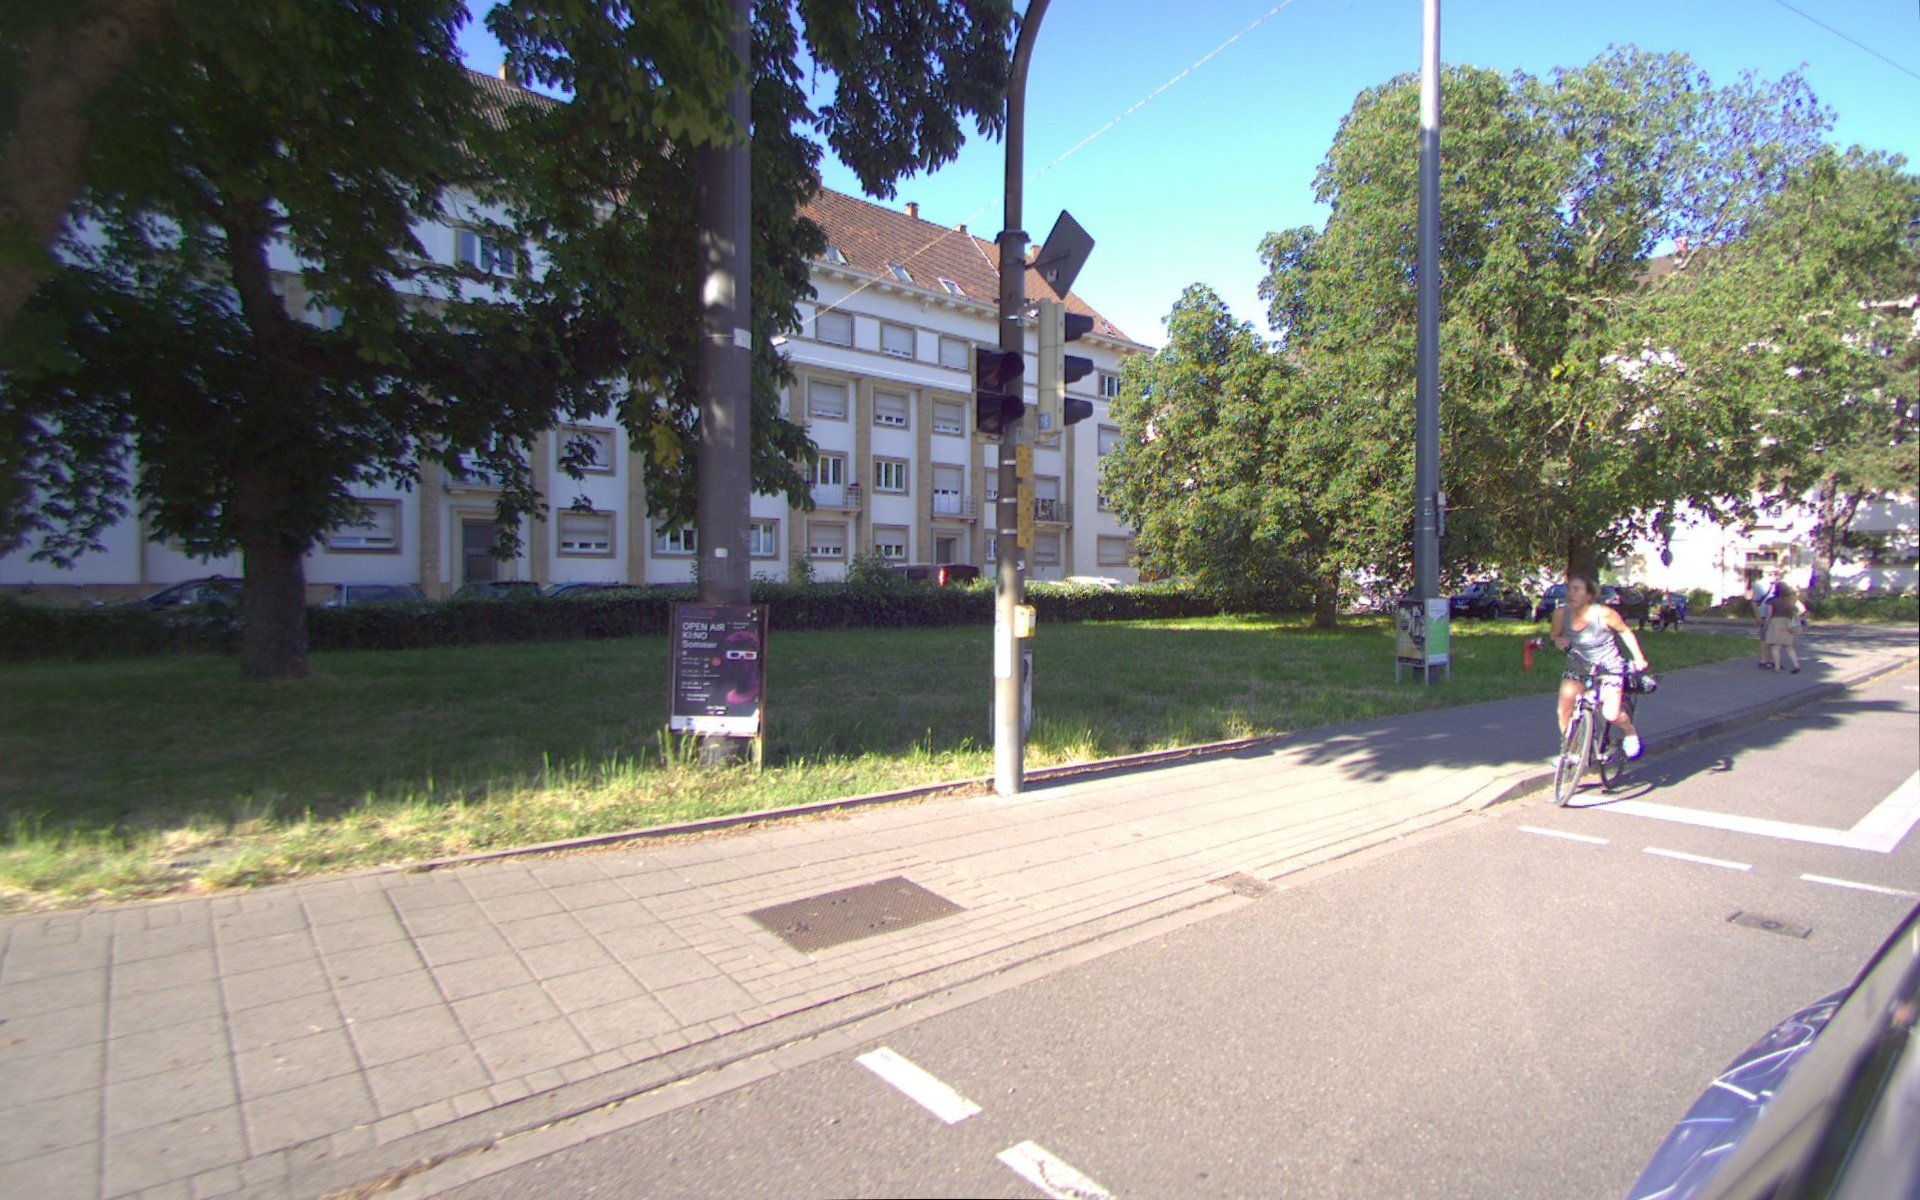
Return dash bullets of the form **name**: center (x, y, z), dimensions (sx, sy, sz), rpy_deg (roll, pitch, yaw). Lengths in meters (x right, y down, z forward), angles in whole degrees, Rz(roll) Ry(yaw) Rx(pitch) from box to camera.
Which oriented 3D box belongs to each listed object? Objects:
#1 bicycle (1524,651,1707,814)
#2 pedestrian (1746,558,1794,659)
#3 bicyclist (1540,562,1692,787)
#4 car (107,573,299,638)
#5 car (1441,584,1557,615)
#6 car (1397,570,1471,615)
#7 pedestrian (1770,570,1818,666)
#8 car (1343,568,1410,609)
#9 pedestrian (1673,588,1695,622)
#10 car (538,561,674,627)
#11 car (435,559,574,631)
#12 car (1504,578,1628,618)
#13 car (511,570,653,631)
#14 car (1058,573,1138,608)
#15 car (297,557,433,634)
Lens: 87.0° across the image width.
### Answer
- **bicycle**: center (4.770, 0.895, 7.322), dimensions (1.706, 0.942, 0.683), rpy_deg (0, 1, -41)
- **pedestrian**: center (13.999, 0.134, 17.510), dimensions (0.562, 1.719, 0.589), rpy_deg (1, 1, 32)
- **bicyclist**: center (4.709, 0.481, 7.262), dimensions (0.920, 1.493, 0.677), rpy_deg (0, 1, -41)
- **car**: center (-19.933, 0.095, 26.733), dimensions (3.932, 1.589, 1.844), rpy_deg (-1, 1, -42)
- **car**: center (20.366, -0.058, 38.224), dimensions (4.192, 1.080, 2.002), rpy_deg (-1, 1, -31)
- **car**: center (19.603, -0.343, 41.745), dimensions (1.988, 1.720, 4.222), rpy_deg (1, 1, 36)
- **pedestrian**: center (13.850, 0.280, 16.813), dimensions (0.593, 1.546, 0.624), rpy_deg (1, 1, 40)
- **car**: center (18.442, -0.543, 44.699), dimensions (1.986, 1.720, 4.227), rpy_deg (1, 1, 33)
- **pedestrian**: center (23.807, 0.170, 33.261), dimensions (0.602, 1.092, 0.459), rpy_deg (0, 1, -41)
- **car**: center (-8.734, -0.183, 24.775), dimensions (1.964, 1.466, 3.997), rpy_deg (-1, 1, -38)
- **car**: center (-10.327, -0.147, 22.816), dimensions (1.964, 1.466, 3.997), rpy_deg (-1, 1, -38)
- **car**: center (21.297, -0.102, 35.543), dimensions (4.192, 1.340, 2.002), rpy_deg (-1, 1, -31)
- **car**: center (-12.393, -0.019, 33.269), dimensions (3.932, 1.867, 1.996), rpy_deg (-1, 1, -42)
- **car**: center (7.078, -0.520, 51.700), dimensions (4.015, 1.711, 1.903), rpy_deg (-1, 1, -42)
- **car**: center (-12.717, -0.128, 21.510), dimensions (1.964, 1.466, 3.997), rpy_deg (-1, 1, -38)
